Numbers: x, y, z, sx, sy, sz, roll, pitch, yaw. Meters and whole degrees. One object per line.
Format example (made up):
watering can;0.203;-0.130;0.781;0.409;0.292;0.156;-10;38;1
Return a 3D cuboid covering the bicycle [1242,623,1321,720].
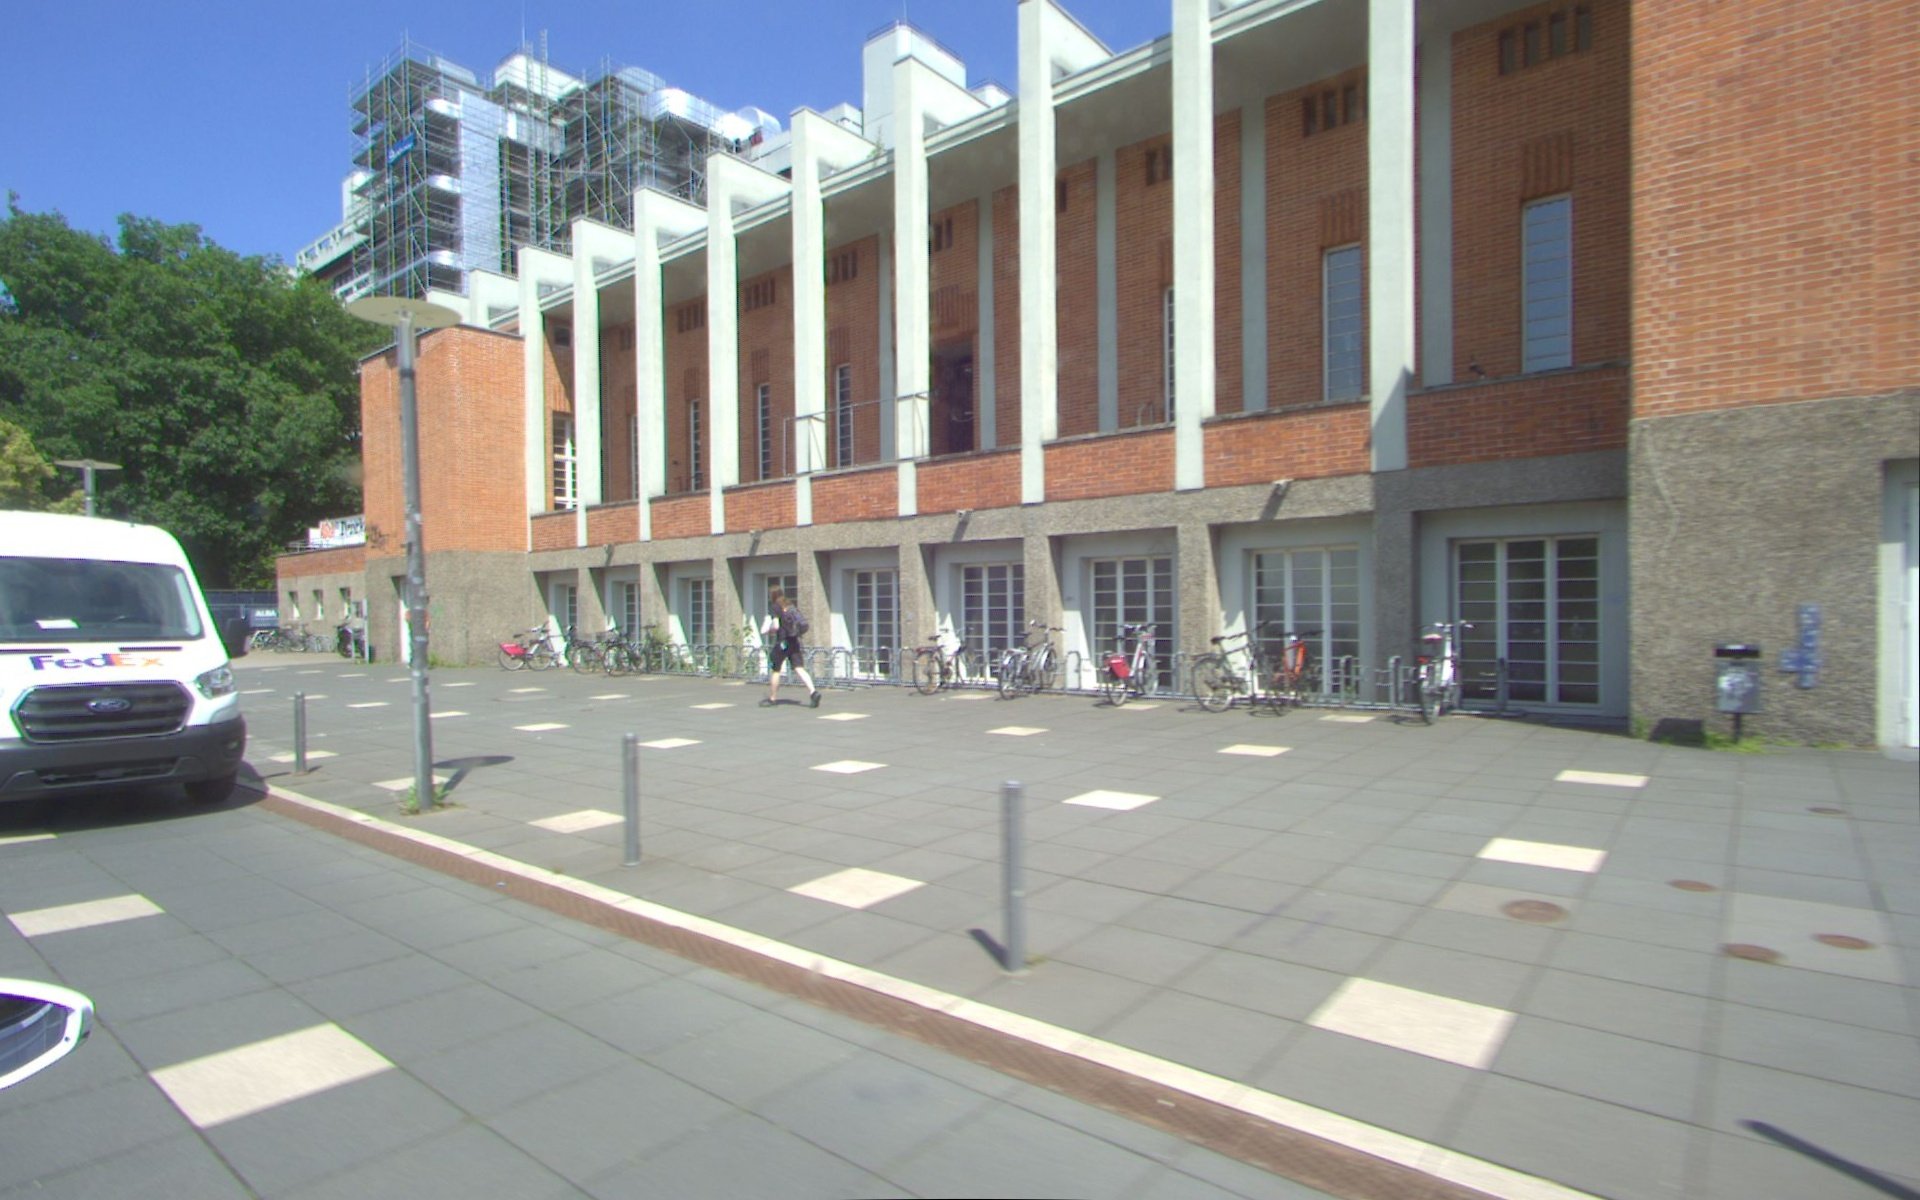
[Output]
bicycle;4.143;0.879;12.838;0.430;1.125;1.688;0;0;37

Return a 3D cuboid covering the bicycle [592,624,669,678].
bicycle;-7.303;1.120;22.279;0.430;1.125;1.676;0;0;37

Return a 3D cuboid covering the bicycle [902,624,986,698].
bicycle;-0.243;0.983;16.546;0.430;1.125;1.676;0;0;37

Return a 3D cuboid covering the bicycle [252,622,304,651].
bicycle;-27.828;1.489;40.884;0.442;1.124;1.694;0;0;39

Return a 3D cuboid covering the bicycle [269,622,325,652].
bicycle;-26.218;1.454;39.641;0.442;1.124;1.798;0;0;39

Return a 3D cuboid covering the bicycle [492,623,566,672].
bicycle;-10.933;1.186;25.440;0.430;1.165;1.746;0;0;37

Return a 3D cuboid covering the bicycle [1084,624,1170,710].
bicycle;2.426;0.930;14.367;0.430;1.124;1.790;0;0;37

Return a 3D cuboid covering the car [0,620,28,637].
car;-90.021;2.718;94.779;1.740;1.541;4.091;0;-1;-29

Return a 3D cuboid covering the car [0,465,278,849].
car;-8.363;0.416;8.957;5.776;2.577;2.051;-1;0;38

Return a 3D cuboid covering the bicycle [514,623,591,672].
bicycle;-10.097;1.160;24.872;0.511;1.165;1.746;0;0;37

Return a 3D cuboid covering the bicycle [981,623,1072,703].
bicycle;1.065;0.943;15.531;0.430;1.124;1.904;0;0;37

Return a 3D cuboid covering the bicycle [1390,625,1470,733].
bicycle;5.507;0.871;11.684;0.451;1.124;1.922;0;0;37

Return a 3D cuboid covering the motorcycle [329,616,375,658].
motorcycle;-20.386;1.222;33.563;2.195;1.341;0.692;-1;0;42

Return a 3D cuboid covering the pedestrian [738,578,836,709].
pedestrian;-2.575;0.634;14.889;1.181;1.858;0.842;0;0;34

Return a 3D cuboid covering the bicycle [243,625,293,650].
bicycle;-29.429;1.587;42.603;0.442;1.016;1.664;0;0;39

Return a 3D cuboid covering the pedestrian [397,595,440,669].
pedestrian;-13.865;0.814;25.641;0.894;1.858;0.660;0;0;37

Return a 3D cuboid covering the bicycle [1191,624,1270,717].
bicycle;3.606;0.900;13.268;0.430;1.125;1.644;0;0;37

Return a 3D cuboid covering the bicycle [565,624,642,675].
bicycle;-8.313;1.131;23.389;0.430;1.124;1.740;0;0;37
